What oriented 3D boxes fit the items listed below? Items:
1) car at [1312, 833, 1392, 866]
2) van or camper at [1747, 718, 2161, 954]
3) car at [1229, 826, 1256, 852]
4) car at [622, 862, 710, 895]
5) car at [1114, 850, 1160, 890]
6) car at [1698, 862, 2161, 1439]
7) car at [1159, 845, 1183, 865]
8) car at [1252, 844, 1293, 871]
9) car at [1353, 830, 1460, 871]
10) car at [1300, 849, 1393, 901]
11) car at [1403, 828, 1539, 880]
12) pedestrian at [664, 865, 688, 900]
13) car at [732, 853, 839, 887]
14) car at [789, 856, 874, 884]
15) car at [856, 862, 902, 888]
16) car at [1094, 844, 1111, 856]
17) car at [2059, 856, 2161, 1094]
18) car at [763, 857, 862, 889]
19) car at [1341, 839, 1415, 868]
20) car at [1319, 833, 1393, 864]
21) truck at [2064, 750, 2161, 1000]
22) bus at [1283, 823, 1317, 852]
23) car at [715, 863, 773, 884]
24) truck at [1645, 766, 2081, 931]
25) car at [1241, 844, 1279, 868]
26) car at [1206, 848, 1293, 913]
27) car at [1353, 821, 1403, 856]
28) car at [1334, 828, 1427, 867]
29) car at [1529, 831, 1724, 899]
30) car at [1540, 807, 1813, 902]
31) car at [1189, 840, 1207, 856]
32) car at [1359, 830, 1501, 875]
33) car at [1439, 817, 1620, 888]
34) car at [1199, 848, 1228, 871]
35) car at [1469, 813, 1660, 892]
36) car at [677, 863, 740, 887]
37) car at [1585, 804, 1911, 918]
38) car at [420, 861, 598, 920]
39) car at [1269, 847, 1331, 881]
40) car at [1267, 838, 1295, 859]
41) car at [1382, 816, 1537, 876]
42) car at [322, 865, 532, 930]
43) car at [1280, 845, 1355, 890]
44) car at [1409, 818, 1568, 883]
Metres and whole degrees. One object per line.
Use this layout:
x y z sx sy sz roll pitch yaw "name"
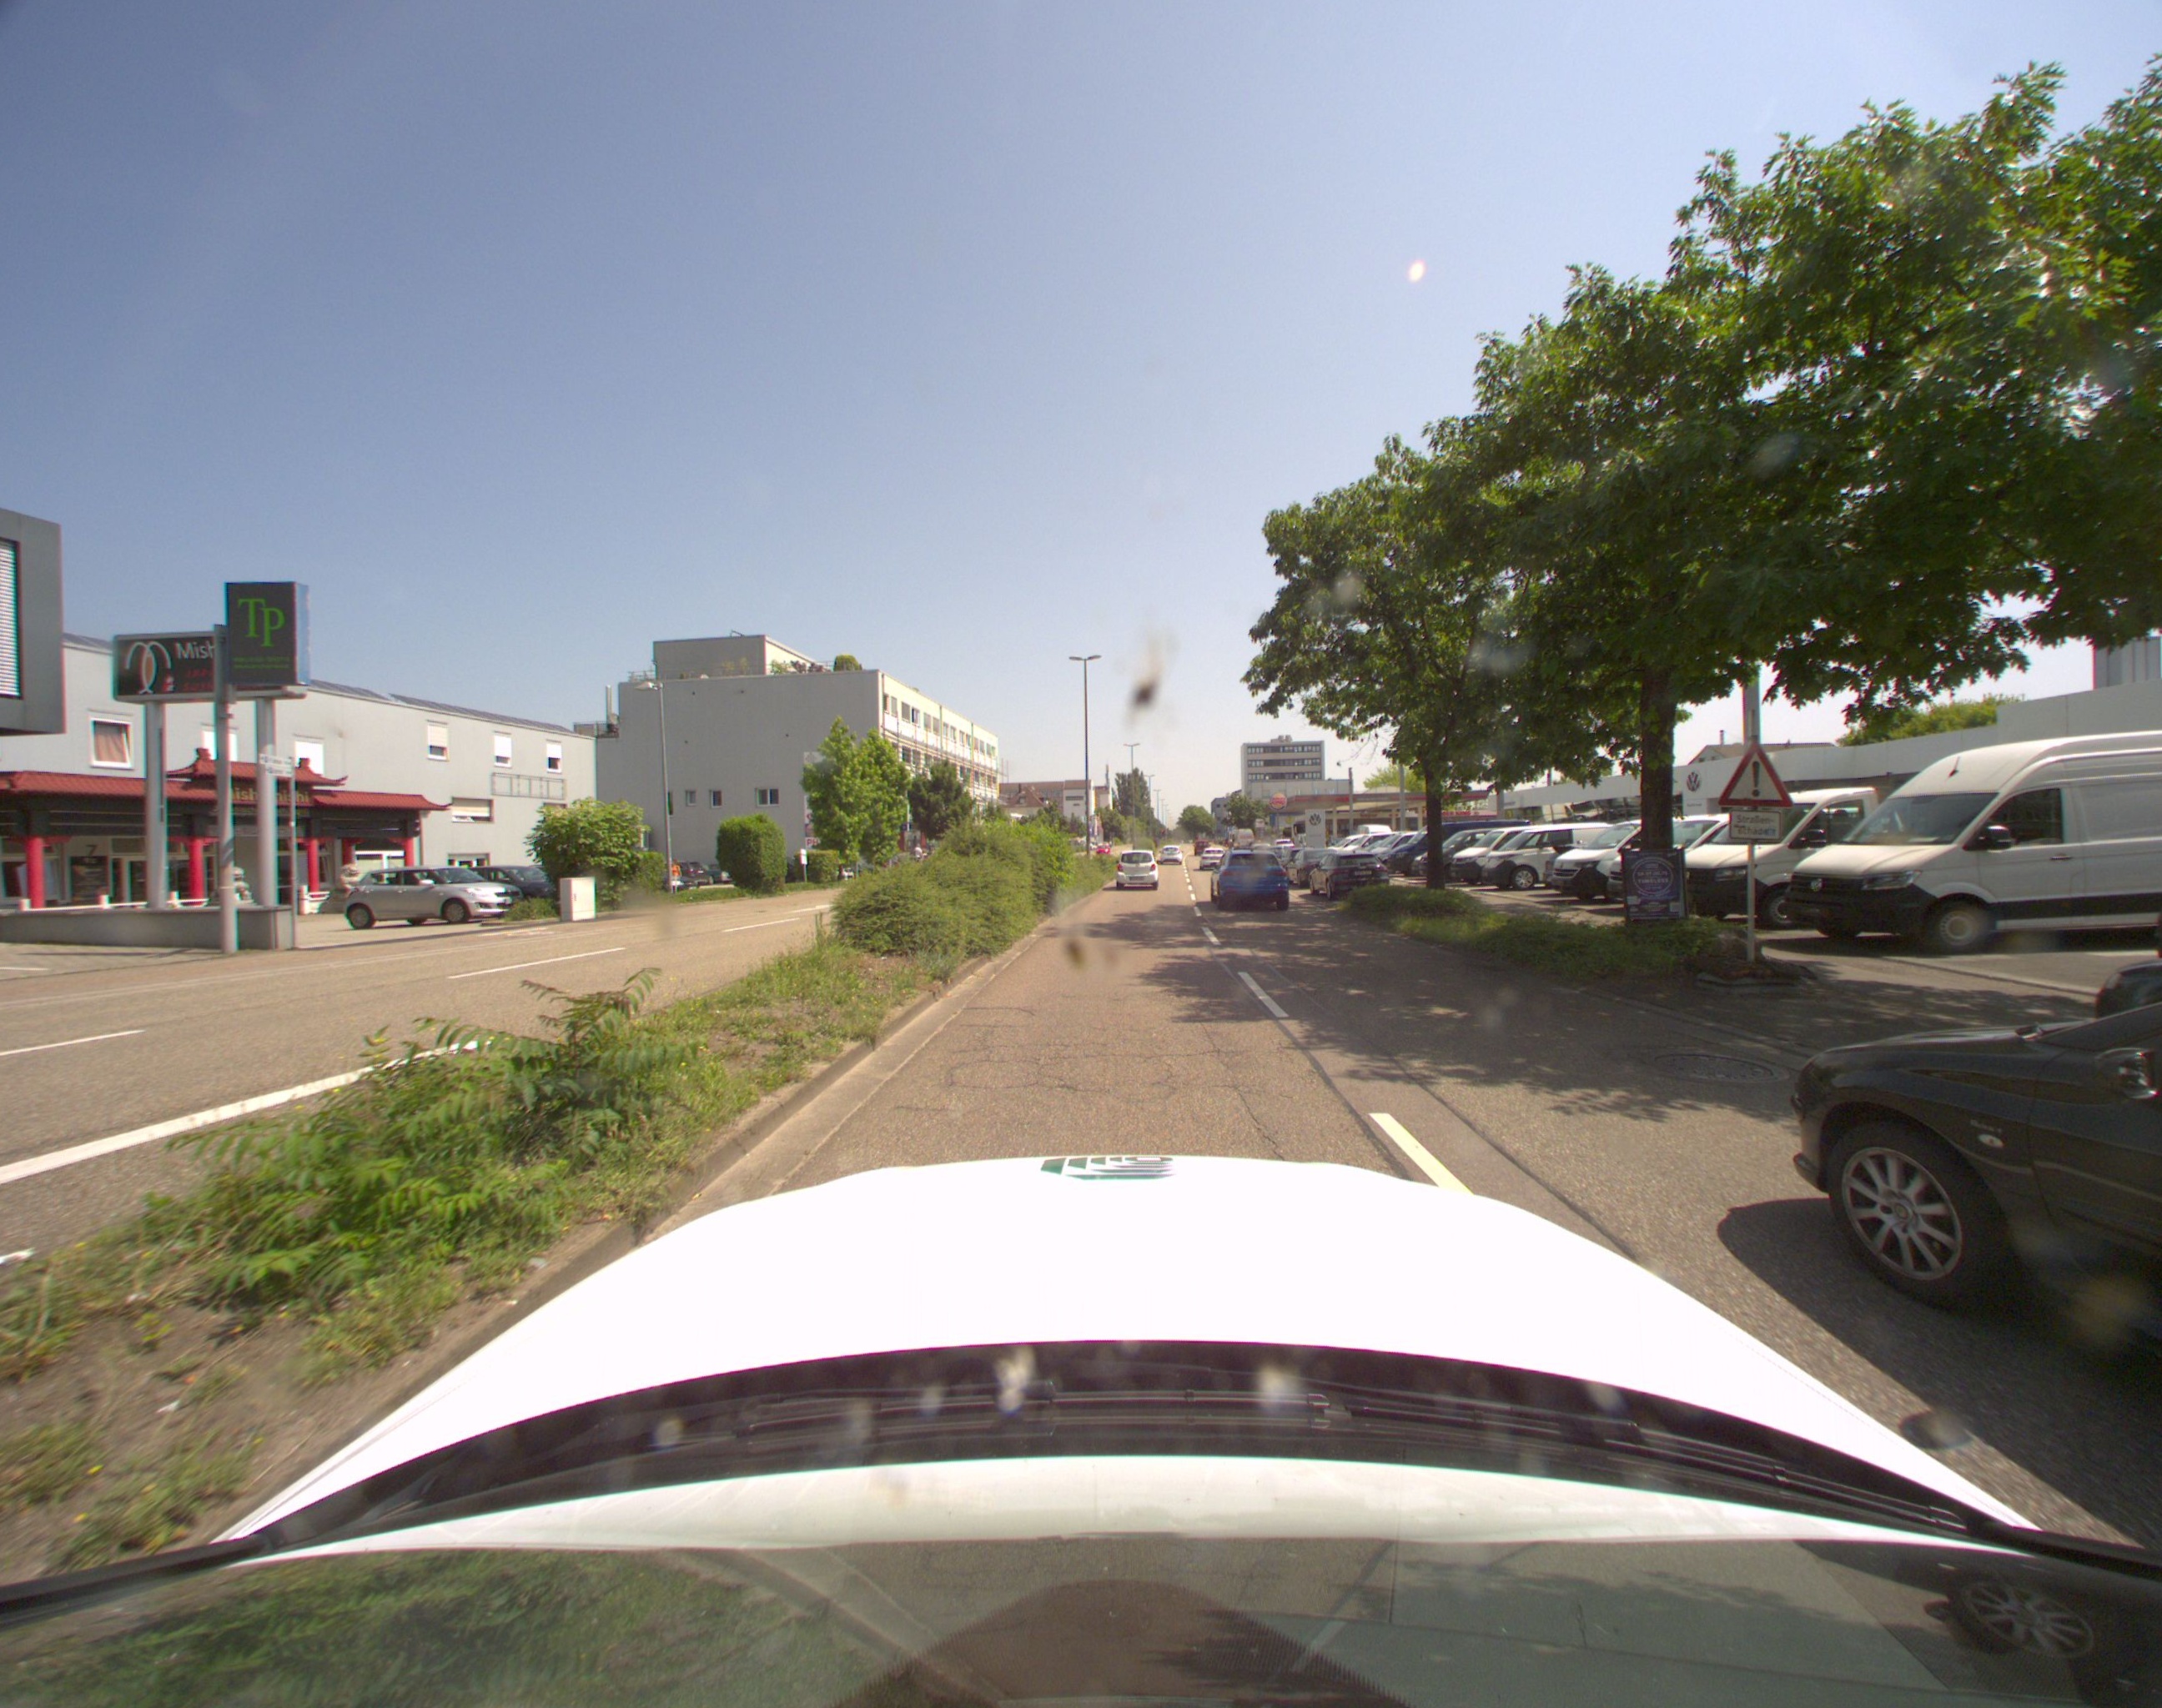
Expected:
17.424 -0.270 52.489 4.534 1.888 1.860 -2 -1 5 "car"
13.765 -0.275 11.362 6.762 2.897 2.279 -2 0 5 "van or camper"
19.742 -1.851 99.785 2.123 2.839 7.318 -7 0 5 "car"
-24.121 1.426 47.462 3.972 1.623 2.001 -4 0 1 "car"
2.172 0.624 32.342 1.706 1.511 3.247 0 -1 1 "car"
3.519 0.775 1.803 1.594 1.425 3.662 1 0 2 "car"
7.018 0.091 63.759 1.821 1.450 4.006 0 0 5 "car"
11.609 0.188 49.618 1.705 1.548 4.797 -2 0 5 "car"
16.558 -0.177 41.638 4.761 1.984 2.008 0 2 7 "car"
8.258 0.602 25.747 1.674 1.435 4.443 -2 0 3 "car"
15.831 -0.016 33.246 4.545 1.851 1.955 -3 1 5 "car"
-18.710 1.302 37.663 0.638 1.584 0.827 0 -1 5 "pedestrian"
-13.745 0.725 38.081 4.130 1.342 2.045 -3 1 4 "car"
-13.248 0.827 43.378 3.819 1.230 1.863 -3 1 5 "car"
-13.267 1.337 53.733 1.651 1.467 3.805 -4 0 6 "car"
2.715 -0.463 102.521 1.621 1.424 3.458 -4 0 8 "car"
7.133 0.717 3.136 1.789 1.406 4.326 0 0 5 "car"
-13.447 0.920 40.887 4.202 1.349 1.984 -3 1 5 "car"
16.108 -0.033 44.315 3.606 1.570 1.722 0 0 12 "car"
17.559 -0.339 52.226 4.130 1.781 1.884 -3 -2 5 "car"
13.106 0.078 6.851 6.211 2.336 2.374 -2 1 7 "truck"
25.152 -1.989 93.906 2.787 3.078 12.322 -1 2 10 "bus"
-23.337 1.341 56.510 1.983 1.372 4.007 0 -1 7 "car"
13.329 -0.068 14.267 5.218 2.436 2.116 -3 0 8 "truck"
12.044 0.094 54.988 1.726 1.552 4.182 -1 1 2 "car"
4.550 0.640 22.561 1.903 1.597 4.402 0 1 5 "car"
24.499 -1.283 67.462 2.244 2.675 7.032 -2 1 7 "car"
17.204 -0.382 46.899 4.618 2.013 1.963 -3 1 4 "car"
14.824 0.264 22.278 4.010 1.470 1.914 -4 1 0 "car"
14.197 0.025 19.724 4.887 1.971 2.146 -3 0 6 "car"
13.345 -0.683 92.820 1.786 1.729 3.978 0 0 5 "car"
16.464 -0.069 38.747 5.860 2.013 2.264 0 0 8 "car"
15.482 -0.034 28.366 5.039 2.097 2.044 -3 0 6 "car"
8.429 0.375 51.994 1.658 1.399 3.800 -1 -1 7 "car"
14.880 -0.022 25.339 4.485 2.014 2.202 -4 -1 7 "car"
-25.822 1.447 56.563 1.716 1.451 4.018 -2 1 17 "car"
13.709 0.139 17.053 4.924 2.113 2.163 -2 0 5 "car"
-16.107 1.023 23.036 3.974 1.371 1.673 -3 1 8 "car"
10.201 0.410 38.335 1.846 1.481 5.161 -1 0 4 "car"
16.695 -0.464 68.097 1.658 1.596 4.622 -2 1 7 "car"
16.520 -0.303 35.883 5.809 2.524 2.210 0 -1 9 "car"
-16.249 1.059 20.355 3.972 1.459 1.576 -1 -1 1 "car"
9.294 0.458 32.383 1.951 1.530 5.171 -4 0 7 "car"
15.311 -0.141 30.849 4.875 2.114 2.133 -3 1 5 "car"
